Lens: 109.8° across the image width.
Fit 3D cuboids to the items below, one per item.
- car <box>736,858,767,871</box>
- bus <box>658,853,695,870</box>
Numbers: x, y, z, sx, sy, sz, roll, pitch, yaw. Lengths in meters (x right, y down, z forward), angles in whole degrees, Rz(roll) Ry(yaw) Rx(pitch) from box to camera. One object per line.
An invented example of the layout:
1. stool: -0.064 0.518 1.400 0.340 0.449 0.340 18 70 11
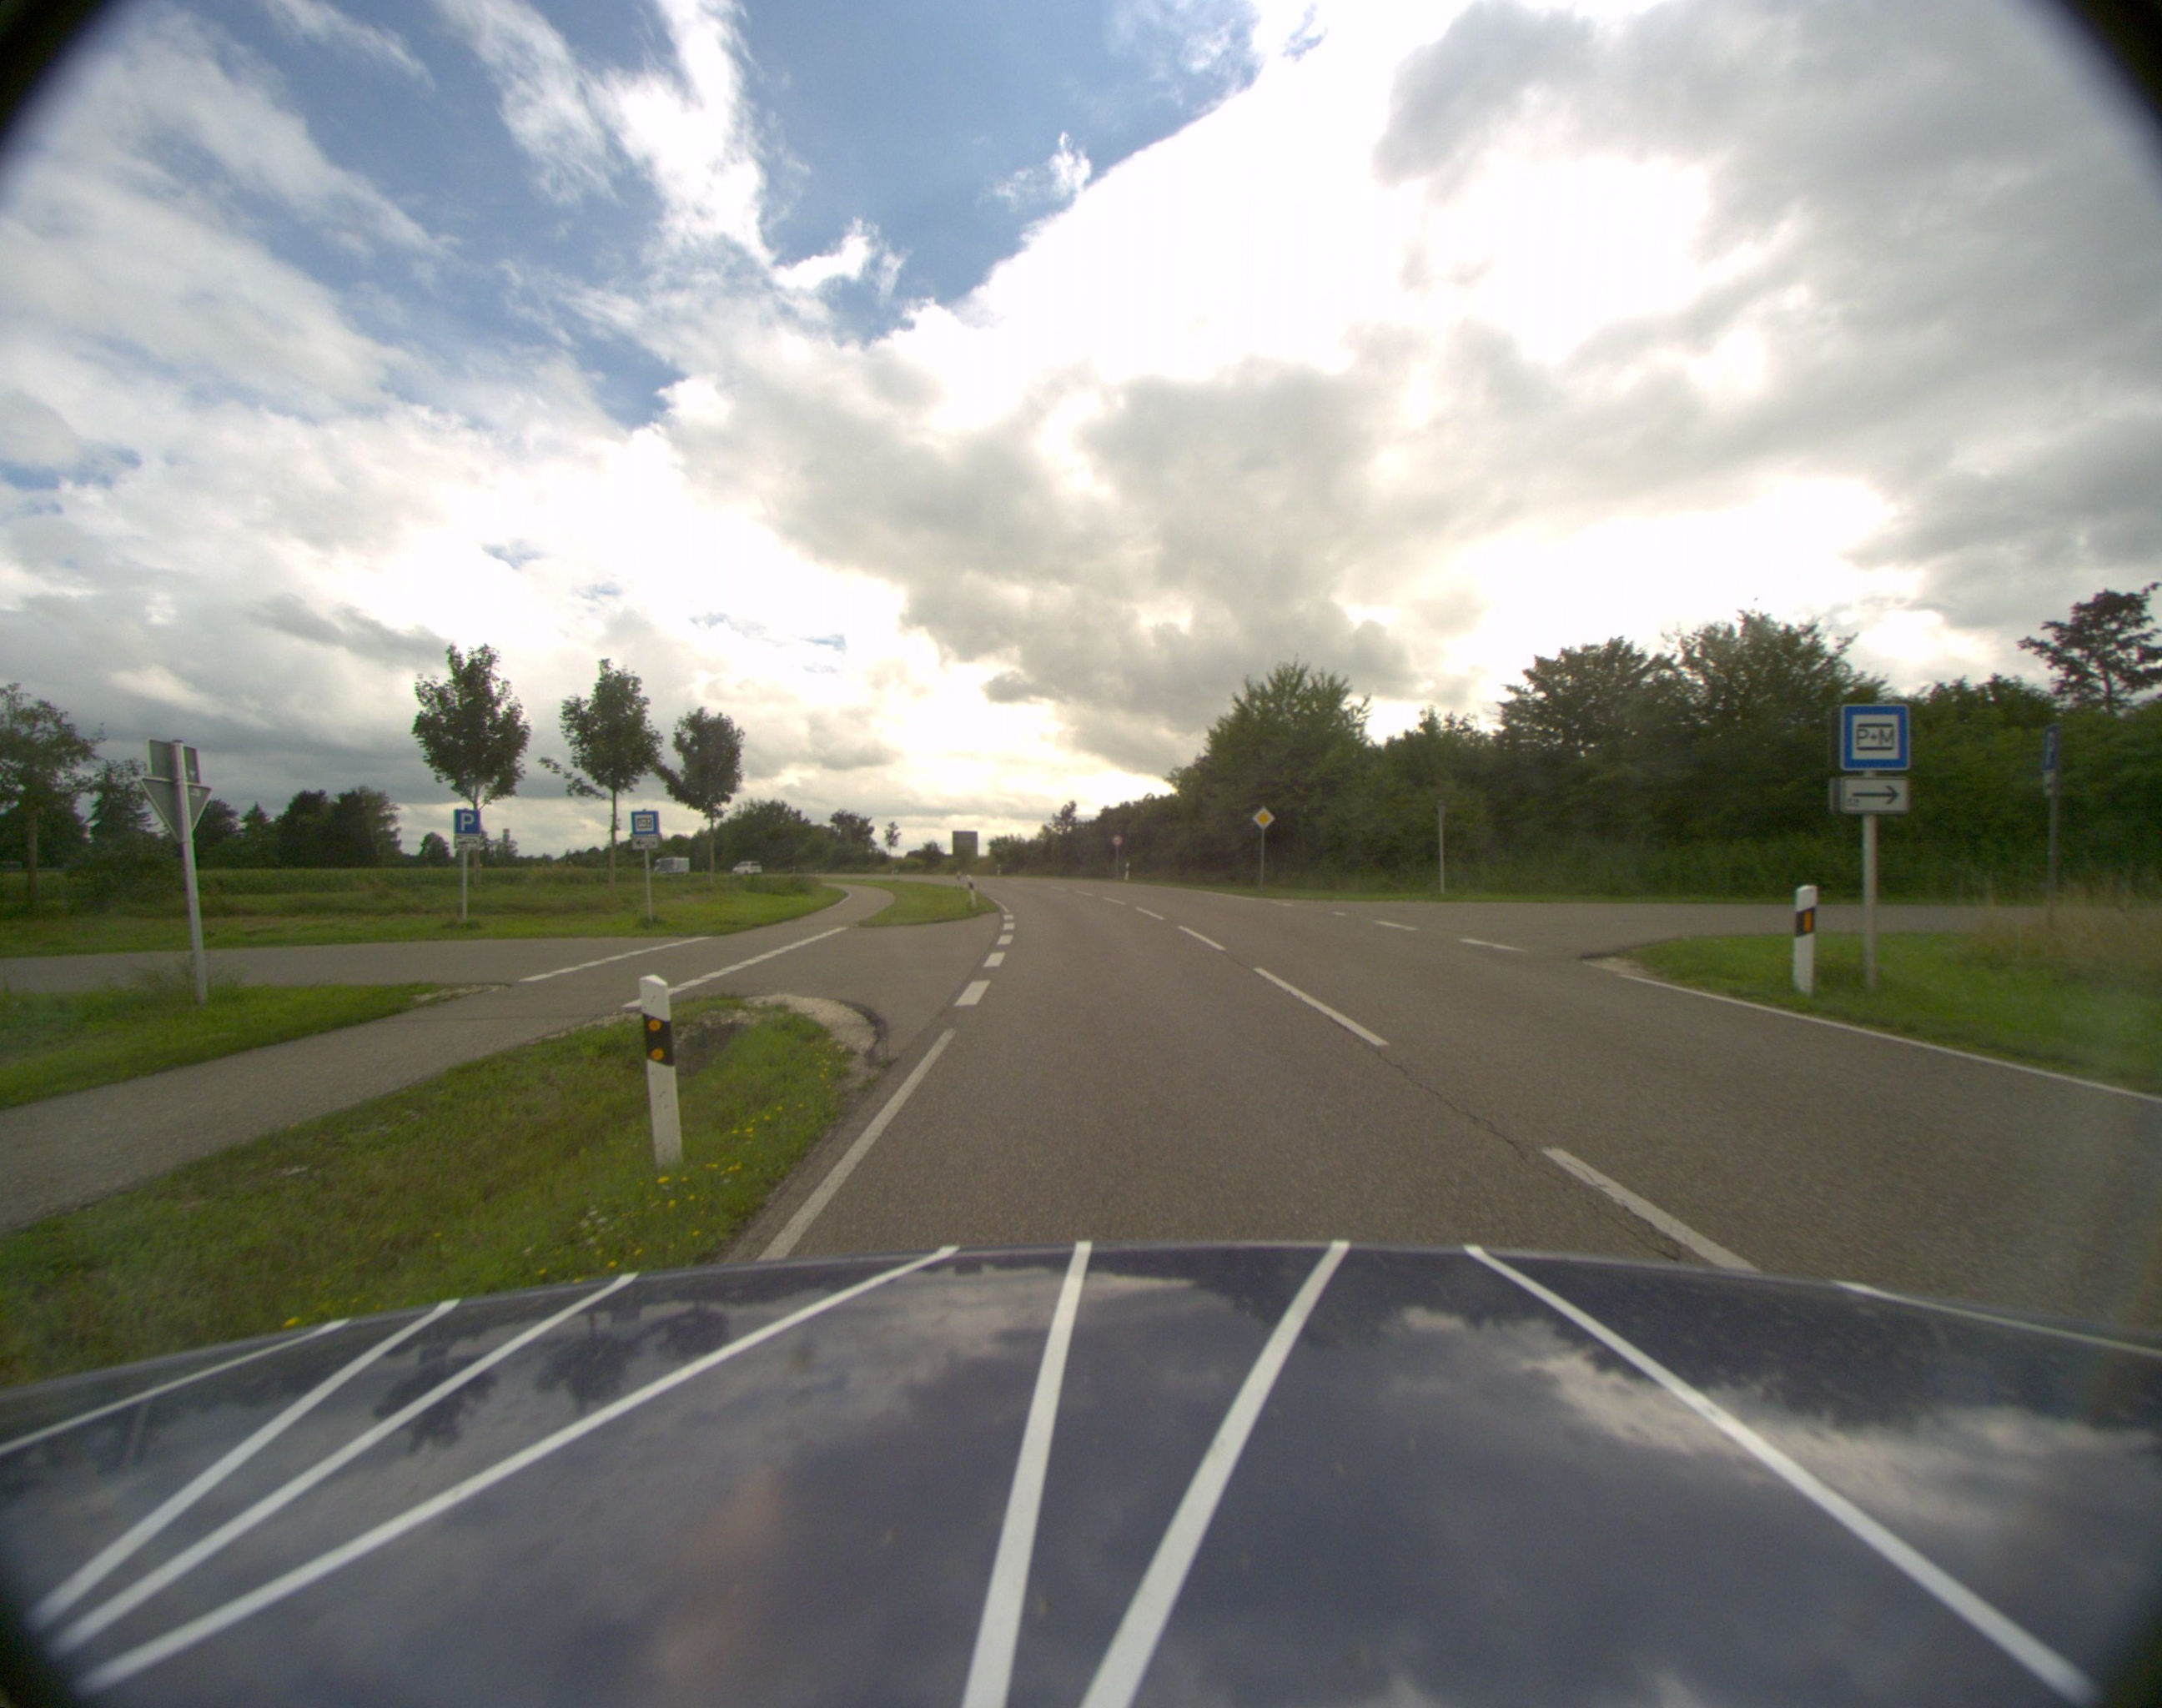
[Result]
1. car: -47.442 1.540 109.413 5.172 1.858 2.124 -1 1 42
2. bus: -66.019 1.281 123.888 8.406 2.695 2.488 -1 1 42
